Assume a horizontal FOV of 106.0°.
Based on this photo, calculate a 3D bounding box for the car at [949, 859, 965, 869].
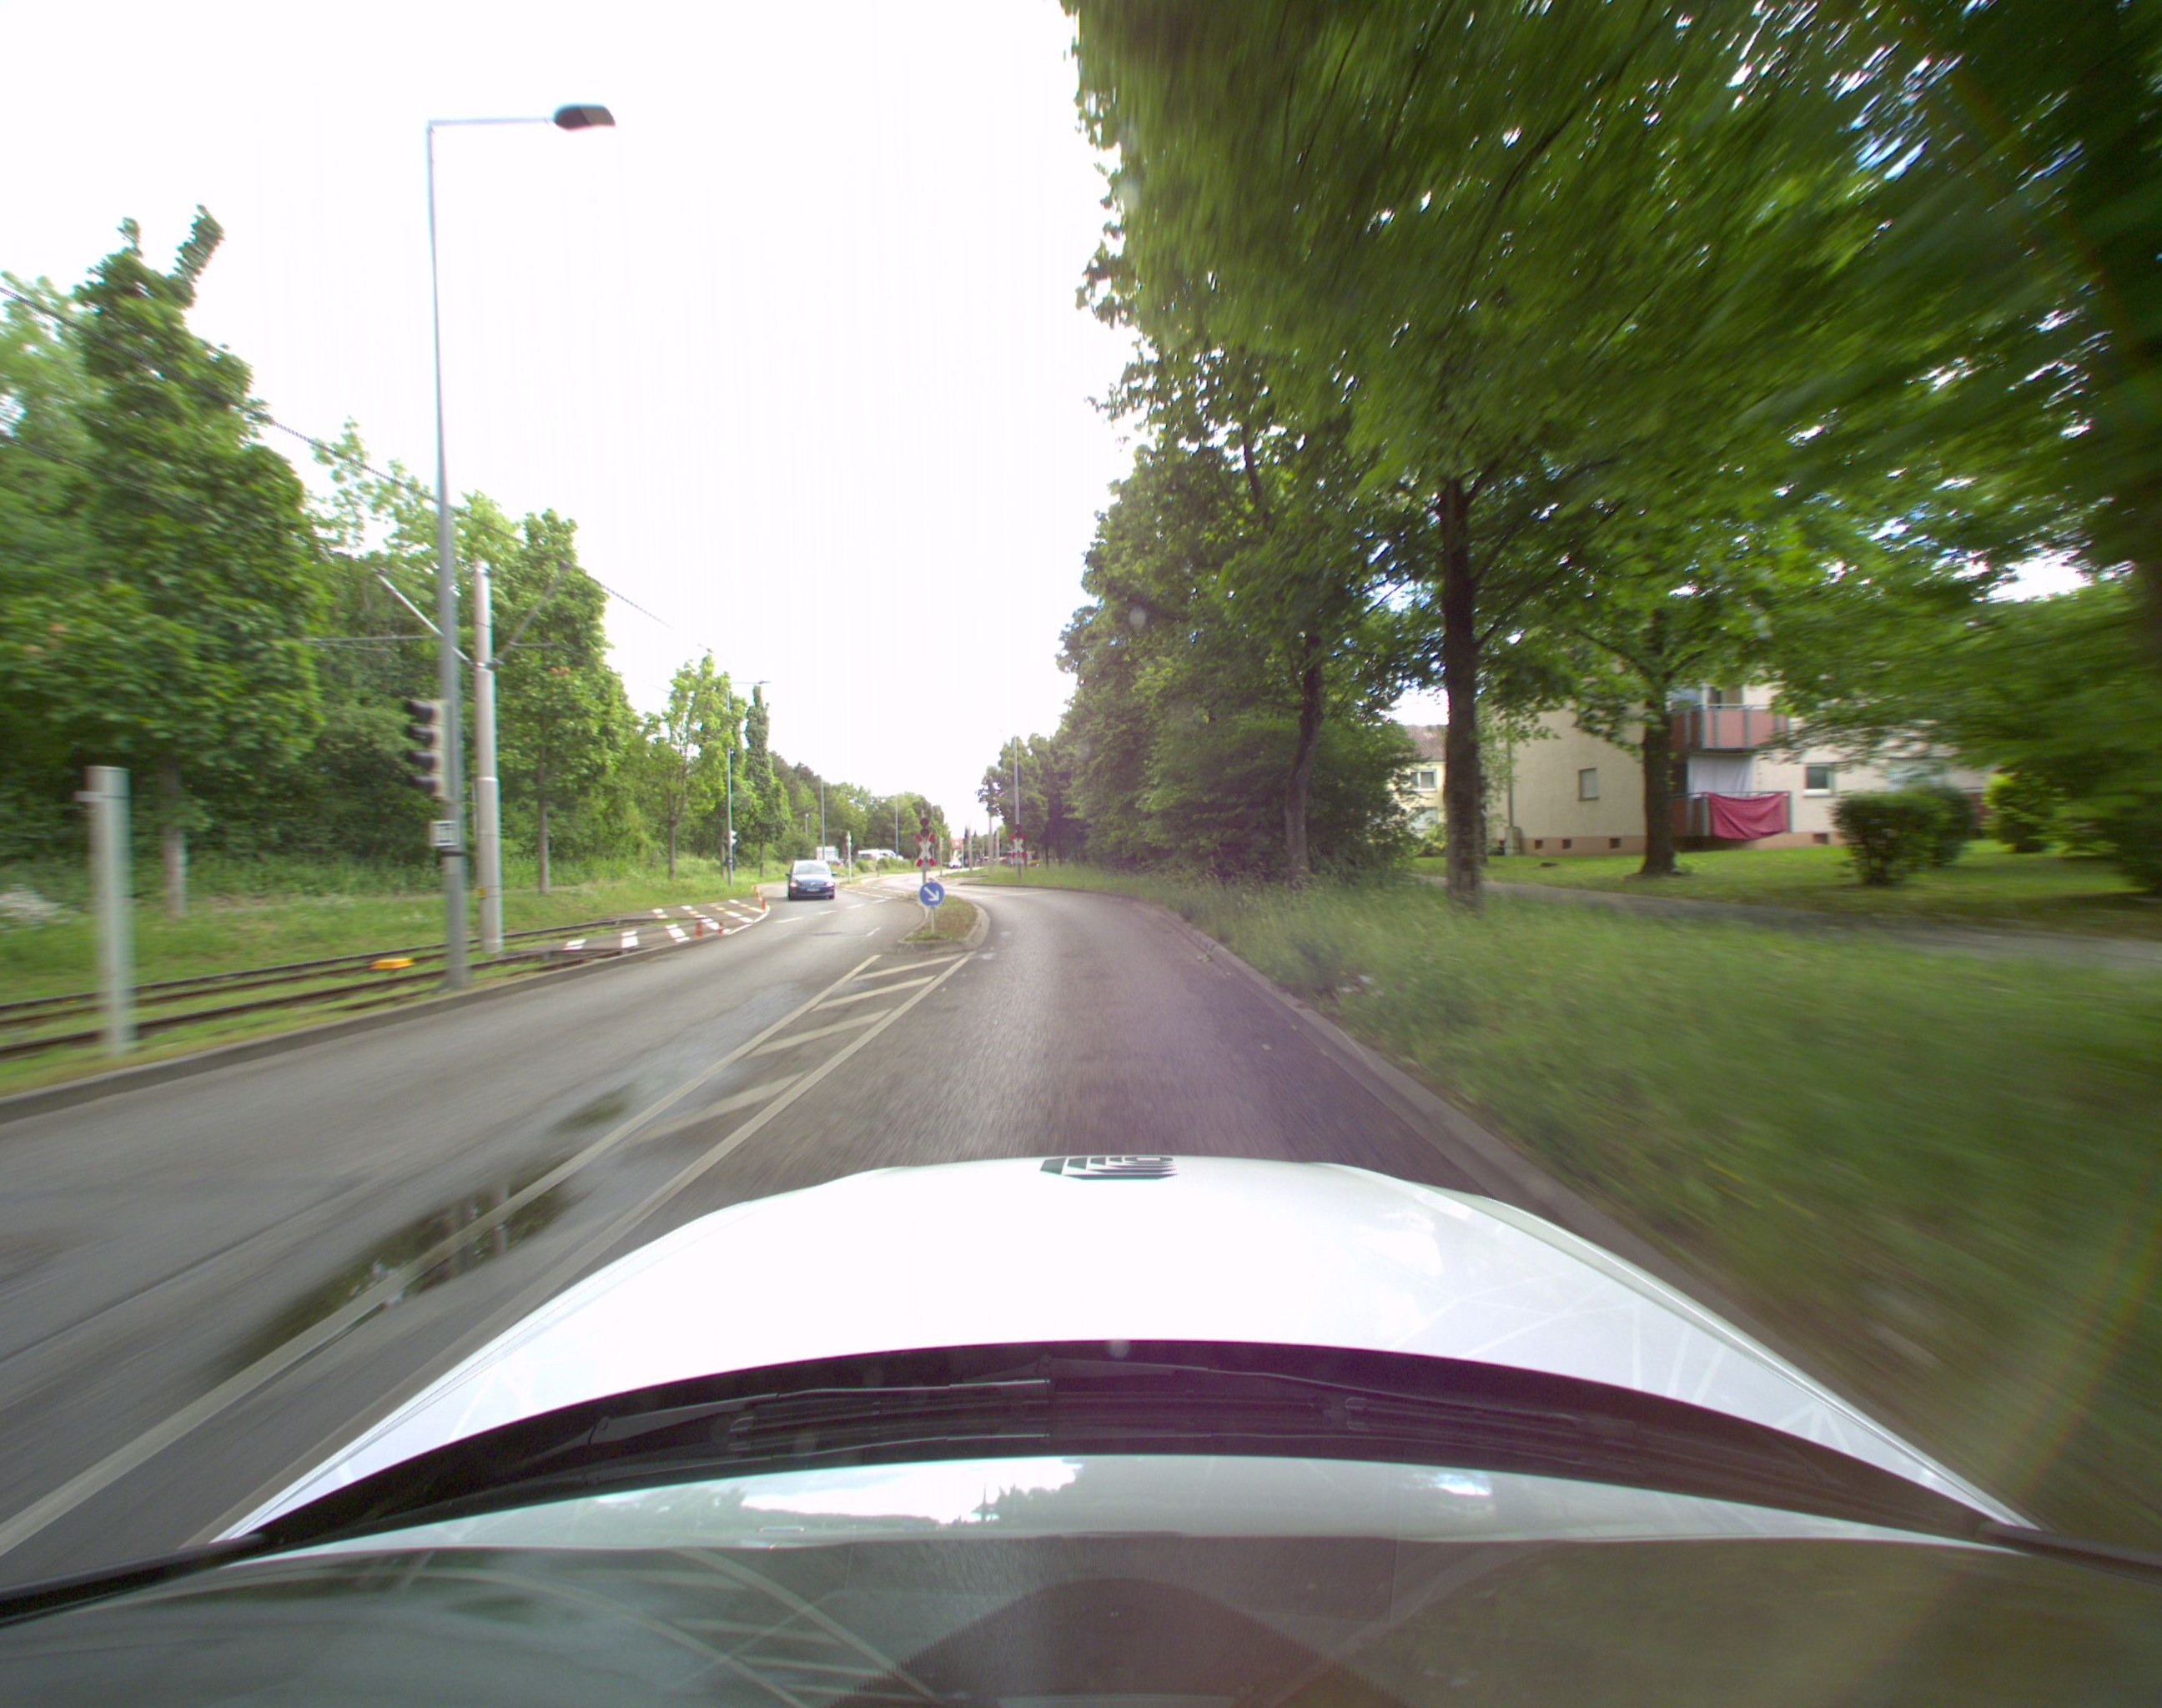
[{"bbox_3d":[-21.306,1.723,140.295,1.987,1.438,4.426,-3,0,1],"label":"car"}]

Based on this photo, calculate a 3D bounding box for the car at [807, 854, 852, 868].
[{"bbox_3d":[-30.591,0.903,99.155,4.917,1.585,2.203,-1,-1,-5],"label":"car"}]

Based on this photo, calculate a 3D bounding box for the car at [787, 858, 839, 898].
[{"bbox_3d":[-11.351,0.964,34.390,1.874,1.521,4.209,-1,1,-21],"label":"car"}]

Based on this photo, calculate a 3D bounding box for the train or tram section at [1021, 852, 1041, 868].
[{"bbox_3d":[-11.864,1.389,190.379,3.004,3.311,34.632,-1,0,-6],"label":"train or tram section"}]

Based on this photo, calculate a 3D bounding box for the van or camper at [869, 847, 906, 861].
[{"bbox_3d":[-30.759,0.045,129.444,5.322,2.203,1.997,-1,0,-4],"label":"van or camper"}]

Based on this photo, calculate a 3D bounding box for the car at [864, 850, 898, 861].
[{"bbox_3d":[-31.105,0.261,126.795,4.622,1.656,2.002,-1,-1,3],"label":"car"}]

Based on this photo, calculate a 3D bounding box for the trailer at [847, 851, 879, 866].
[{"bbox_3d":[-30.732,0.617,114.999,3.975,2.013,1.907,-1,0,-1],"label":"trailer"}]
